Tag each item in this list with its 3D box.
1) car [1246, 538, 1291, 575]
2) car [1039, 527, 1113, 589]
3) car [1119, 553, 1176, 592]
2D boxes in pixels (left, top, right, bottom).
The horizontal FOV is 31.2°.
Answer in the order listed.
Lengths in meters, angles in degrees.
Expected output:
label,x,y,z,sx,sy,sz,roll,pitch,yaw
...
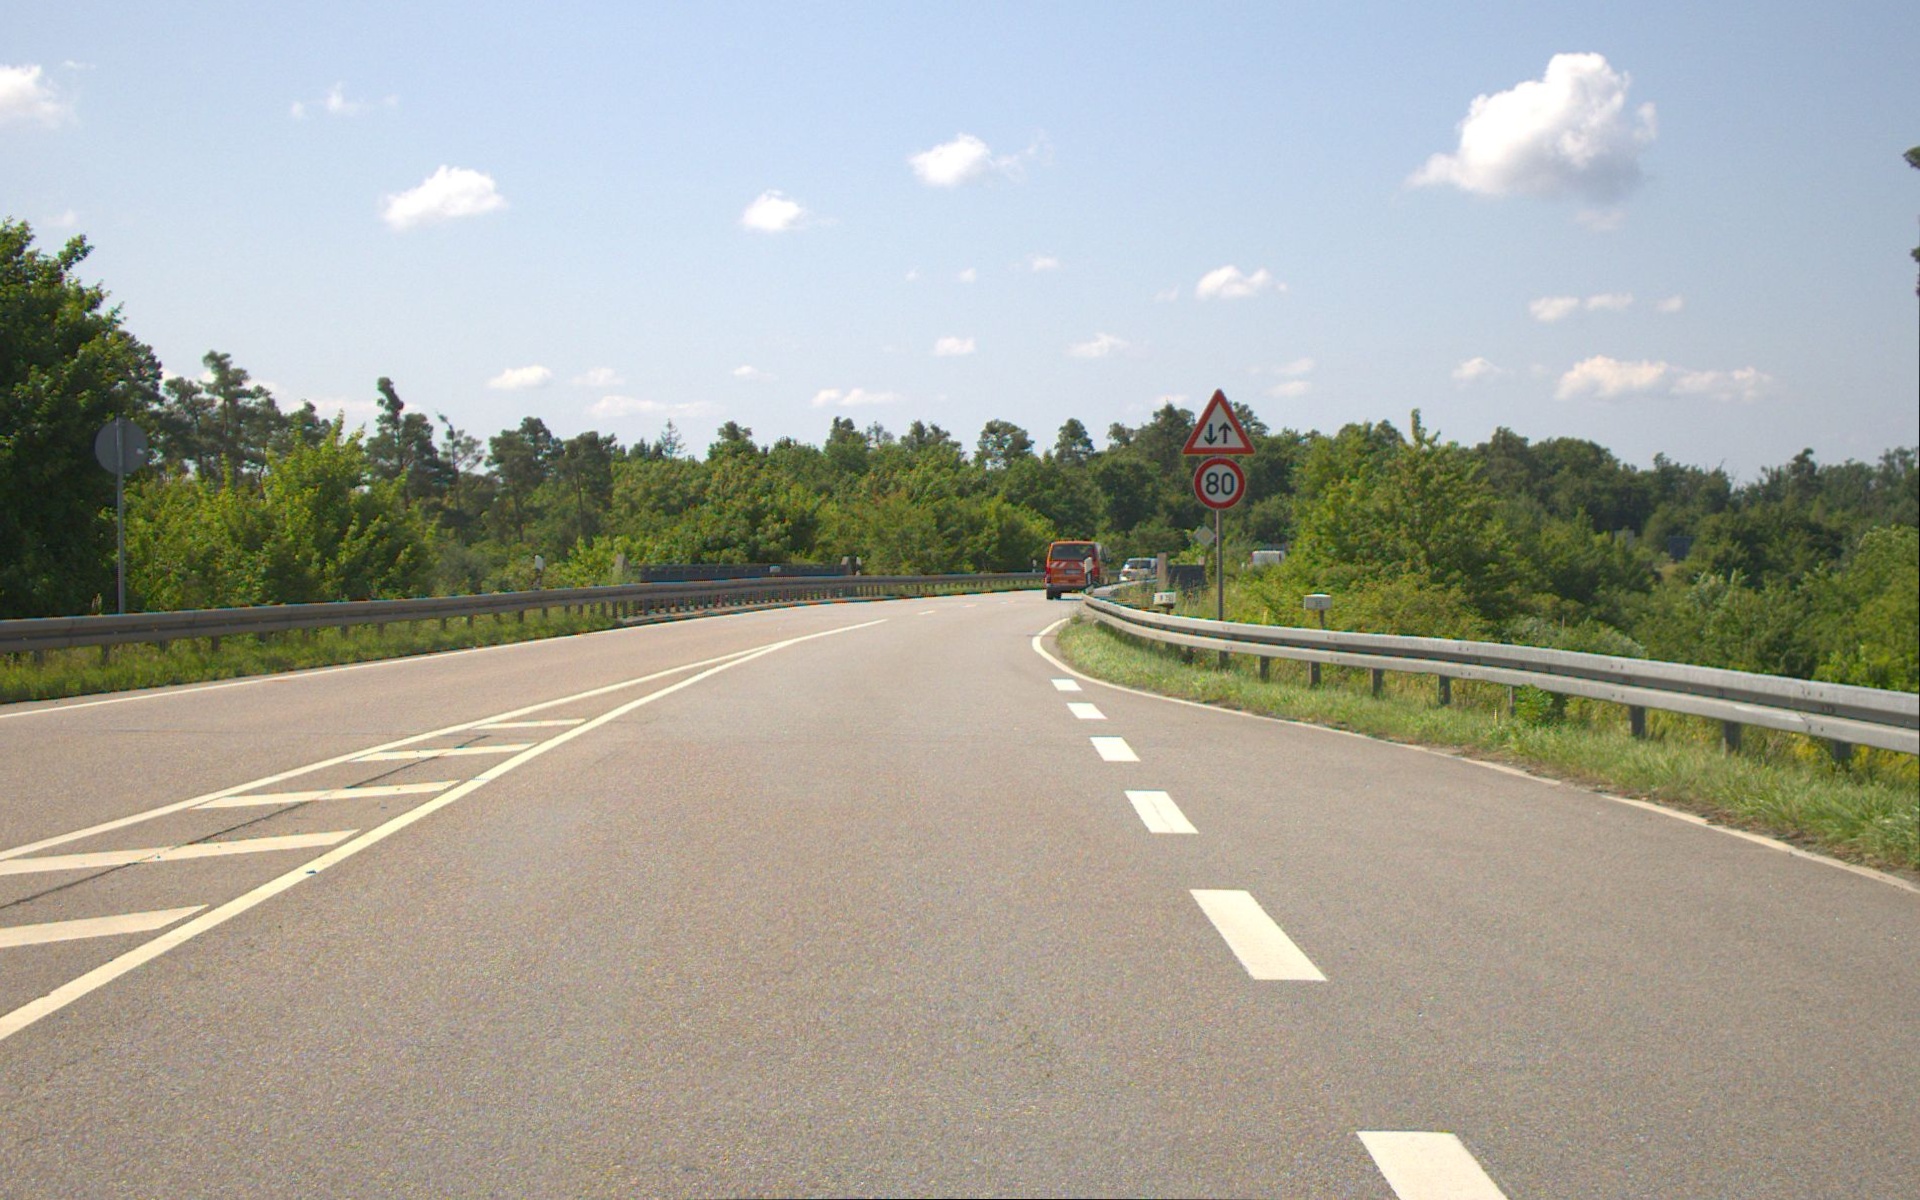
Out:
label,x,y,z,sx,sy,sz,roll,pitch,yaw
car,17.437,-2.460,193.956,2.185,1.948,5.802,2,1,8
car,3.906,-1.379,115.377,2.078,1.986,5.110,1,0,6
car,7.485,-1.103,137.030,2.008,1.488,4.237,1,0,6
